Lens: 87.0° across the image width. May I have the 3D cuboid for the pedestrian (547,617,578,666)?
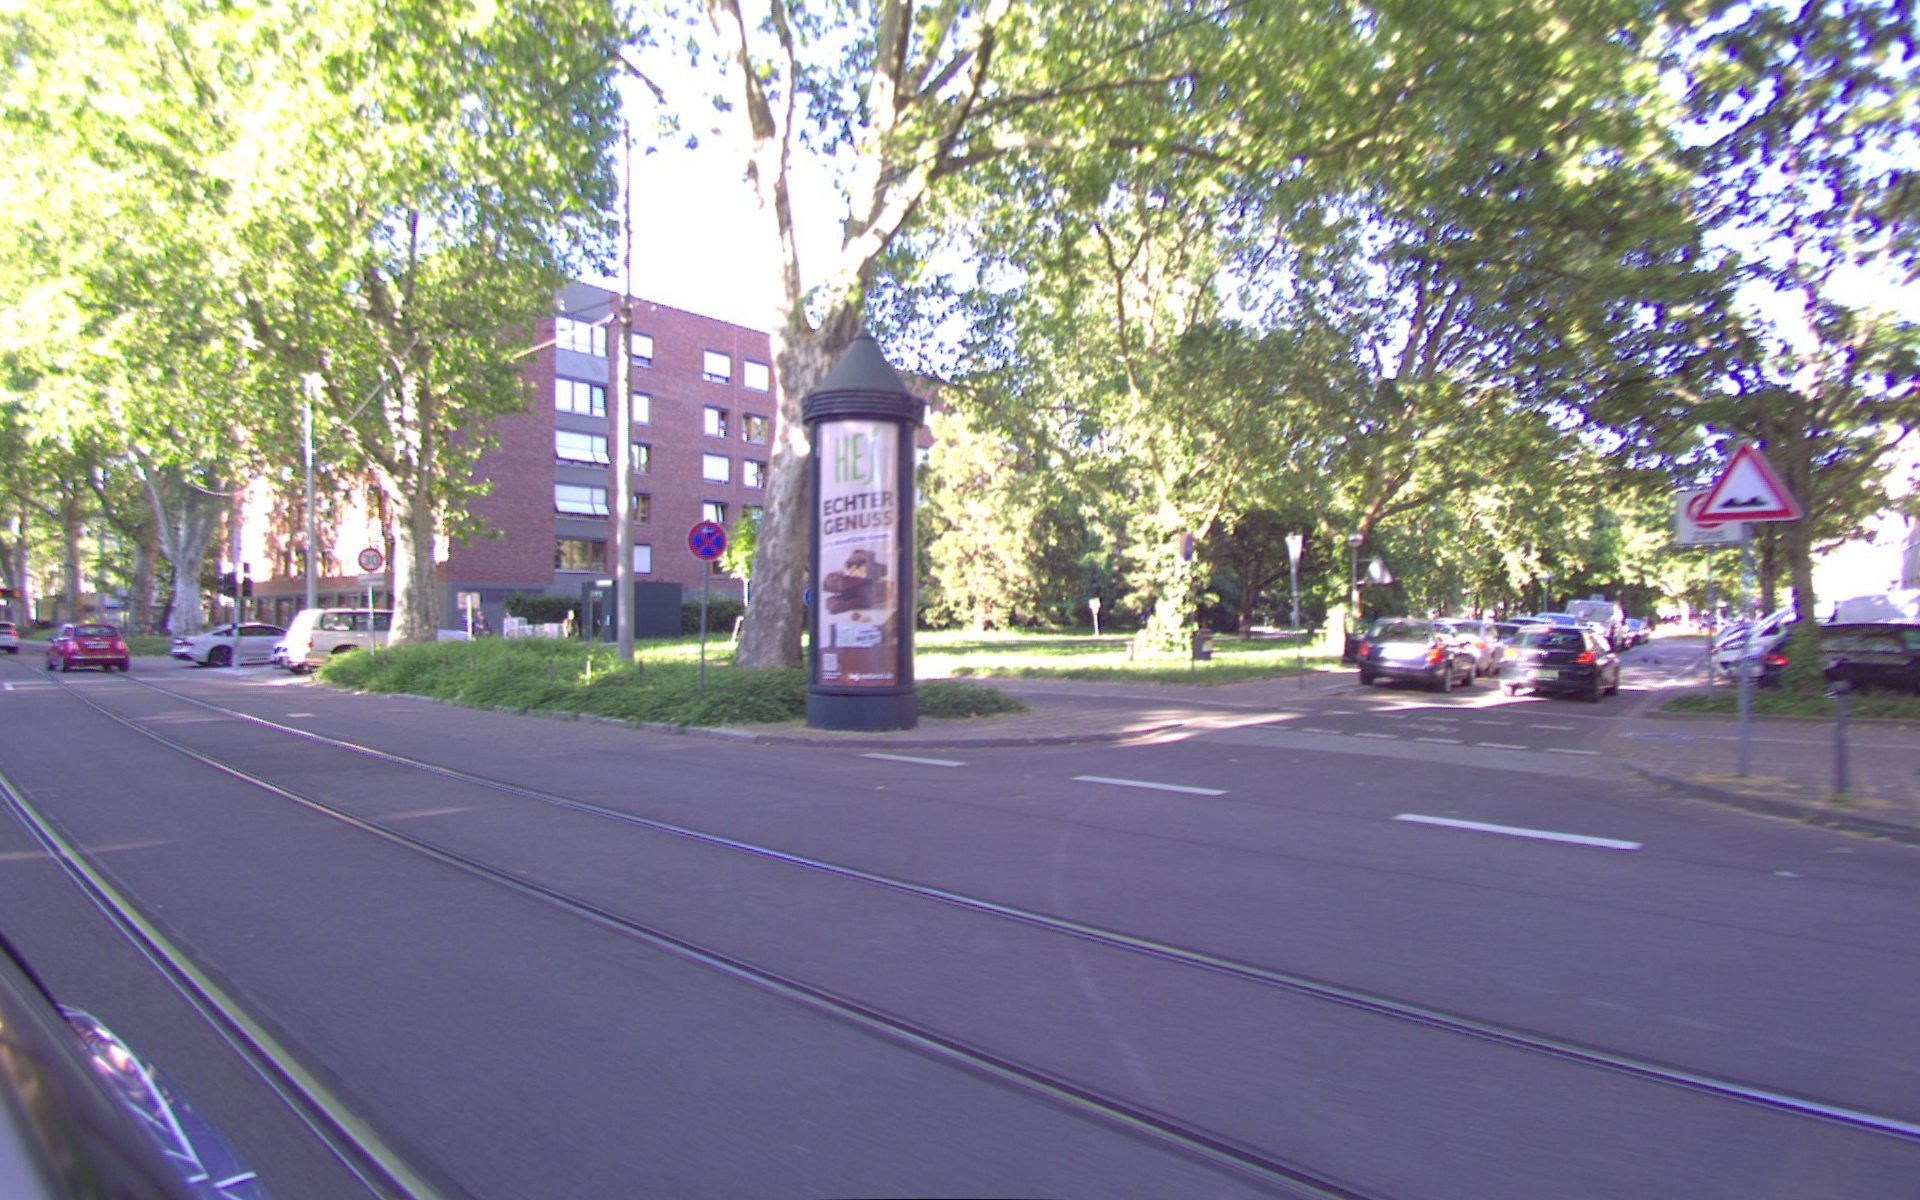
[{"bbox_3d":[-13.794,1.423,35.132,0.779,1.686,0.702,-1,-1,41],"label":"pedestrian"}]

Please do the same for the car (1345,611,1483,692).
[{"bbox_3d":[9.843,1.019,21.735,1.856,1.500,4.487,-1,-1,36],"label":"car"}]

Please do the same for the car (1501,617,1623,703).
[{"bbox_3d":[12.223,1.117,20.442,1.740,1.459,3.951,1,1,36],"label":"car"}]

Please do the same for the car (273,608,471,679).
[{"bbox_3d":[-16.702,1.168,28.919,1.937,1.848,4.524,-1,-1,40],"label":"car"}]

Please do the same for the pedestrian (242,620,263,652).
[{"bbox_3d":[-40.149,2.024,57.437,0.972,1.757,0.755,-1,-1,42],"label":"pedestrian"}]

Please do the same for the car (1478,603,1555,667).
[{"bbox_3d":[19.095,1.146,34.640,1.994,2.029,3.955,-1,-1,33],"label":"car"}]

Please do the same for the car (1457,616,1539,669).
[{"bbox_3d":[16.445,1.255,30.857,1.685,1.461,3.674,-1,-1,36],"label":"car"}]

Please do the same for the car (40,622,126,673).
[{"bbox_3d":[-27.261,1.428,31.434,3.473,1.455,1.643,-1,-1,42],"label":"car"}]

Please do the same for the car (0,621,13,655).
[{"bbox_3d":[-46.278,1.778,47.836,4.115,1.580,1.796,-1,-3,42],"label":"car"}]

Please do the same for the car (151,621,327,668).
[{"bbox_3d":[-25.261,1.501,35.599,1.953,1.471,4.716,-1,-1,40],"label":"car"}]

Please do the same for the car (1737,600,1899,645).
[{"bbox_3d":[32.584,0.854,38.626,4.472,1.630,1.928,-1,-1,34],"label":"car"}]

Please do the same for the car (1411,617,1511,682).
[{"bbox_3d":[13.111,1.222,26.336,1.819,1.461,4.432,-1,-1,33],"label":"car"}]

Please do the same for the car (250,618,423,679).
[{"bbox_3d":[-18.865,1.413,30.742,1.901,1.659,4.097,-1,-1,40],"label":"car"}]

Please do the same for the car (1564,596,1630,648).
[{"bbox_3d":[28.660,0.935,45.453,2.041,2.214,4.684,-1,-1,38],"label":"car"}]

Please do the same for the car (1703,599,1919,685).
[{"bbox_3d":[20.542,0.940,23.772,4.913,1.858,1.974,-1,-1,38],"label":"car"}]

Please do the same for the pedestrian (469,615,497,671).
[{"bbox_3d":[-15.779,1.406,33.467,0.636,1.823,0.752,0,-1,-43],"label":"pedestrian"}]

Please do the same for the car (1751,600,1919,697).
[{"bbox_3d":[15.929,0.781,16.965,3.987,1.537,1.978,-1,-1,32],"label":"car"}]

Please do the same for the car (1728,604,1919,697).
[{"bbox_3d":[17.307,0.904,18.868,4.543,1.630,1.978,-1,-1,33],"label":"car"}]

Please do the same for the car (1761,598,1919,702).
[{"bbox_3d":[14.681,0.716,15.148,3.986,1.504,1.799,-1,-1,32],"label":"car"}]

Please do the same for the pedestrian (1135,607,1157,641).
[{"bbox_3d":[9.549,1.219,51.949,0.766,1.686,0.714,0,-1,-32],"label":"pedestrian"}]

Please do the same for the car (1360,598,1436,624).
[{"bbox_3d":[28.097,0.692,64.992,1.868,1.630,4.109,0,-1,-43],"label":"car"}]

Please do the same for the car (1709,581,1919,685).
[{"bbox_3d":[18.663,0.658,21.033,4.911,2.019,1.975,-1,-1,37],"label":"car"}]

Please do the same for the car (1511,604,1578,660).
[{"bbox_3d":[22.802,1.180,39.406,1.994,2.029,4.692,-1,-1,33],"label":"car"}]

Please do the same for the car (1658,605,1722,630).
[{"bbox_3d":[68.126,1.674,94.488,4.736,2.261,1.976,-1,-1,36],"label":"car"}]
